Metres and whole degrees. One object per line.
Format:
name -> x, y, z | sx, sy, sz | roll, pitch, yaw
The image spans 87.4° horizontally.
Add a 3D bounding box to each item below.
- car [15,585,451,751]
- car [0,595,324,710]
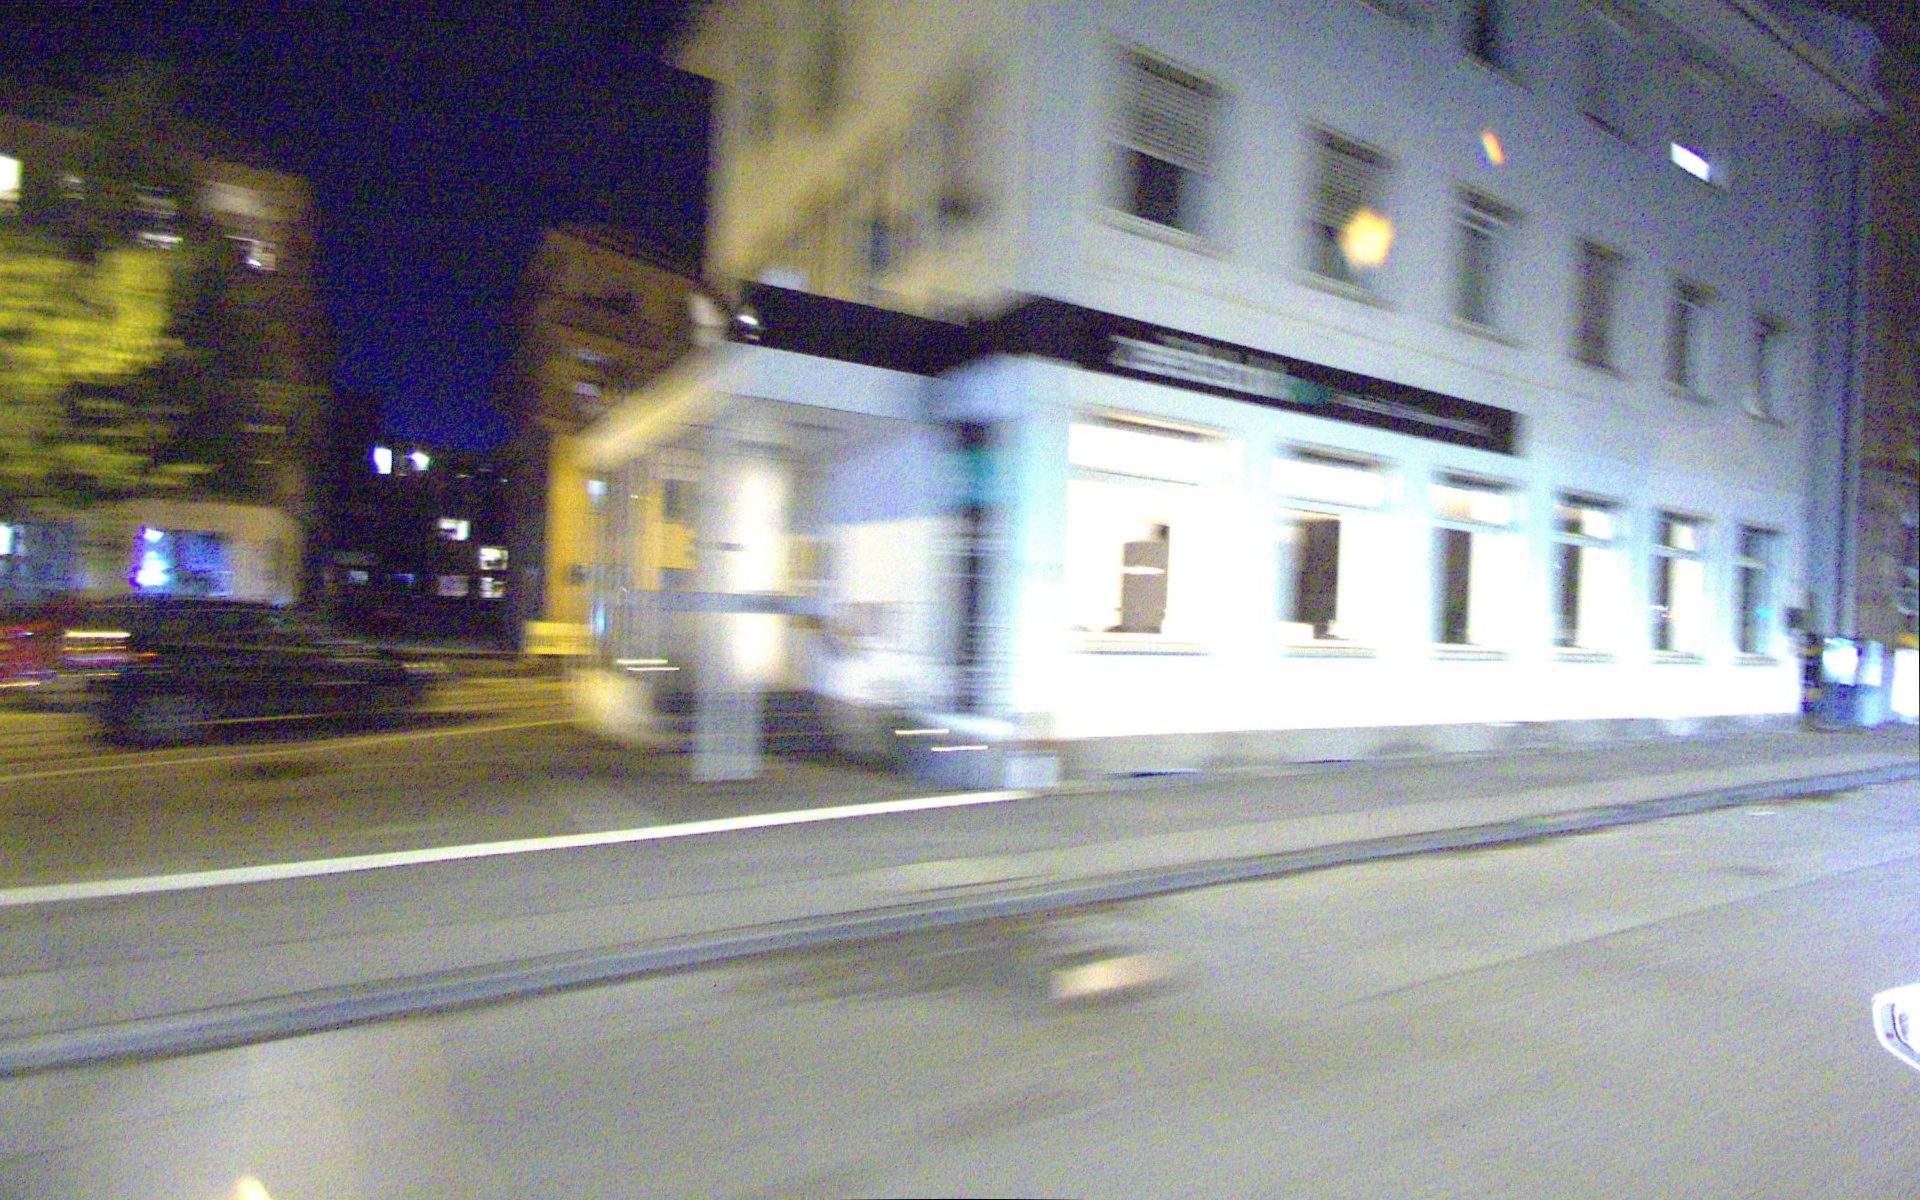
car -> -9.109, 0.789, 12.965 | 1.886, 1.666, 4.102 | 4, 0, 31
car -> -13.217, 0.839, 16.553 | 1.810, 1.634, 4.252 | 0, -3, 31
